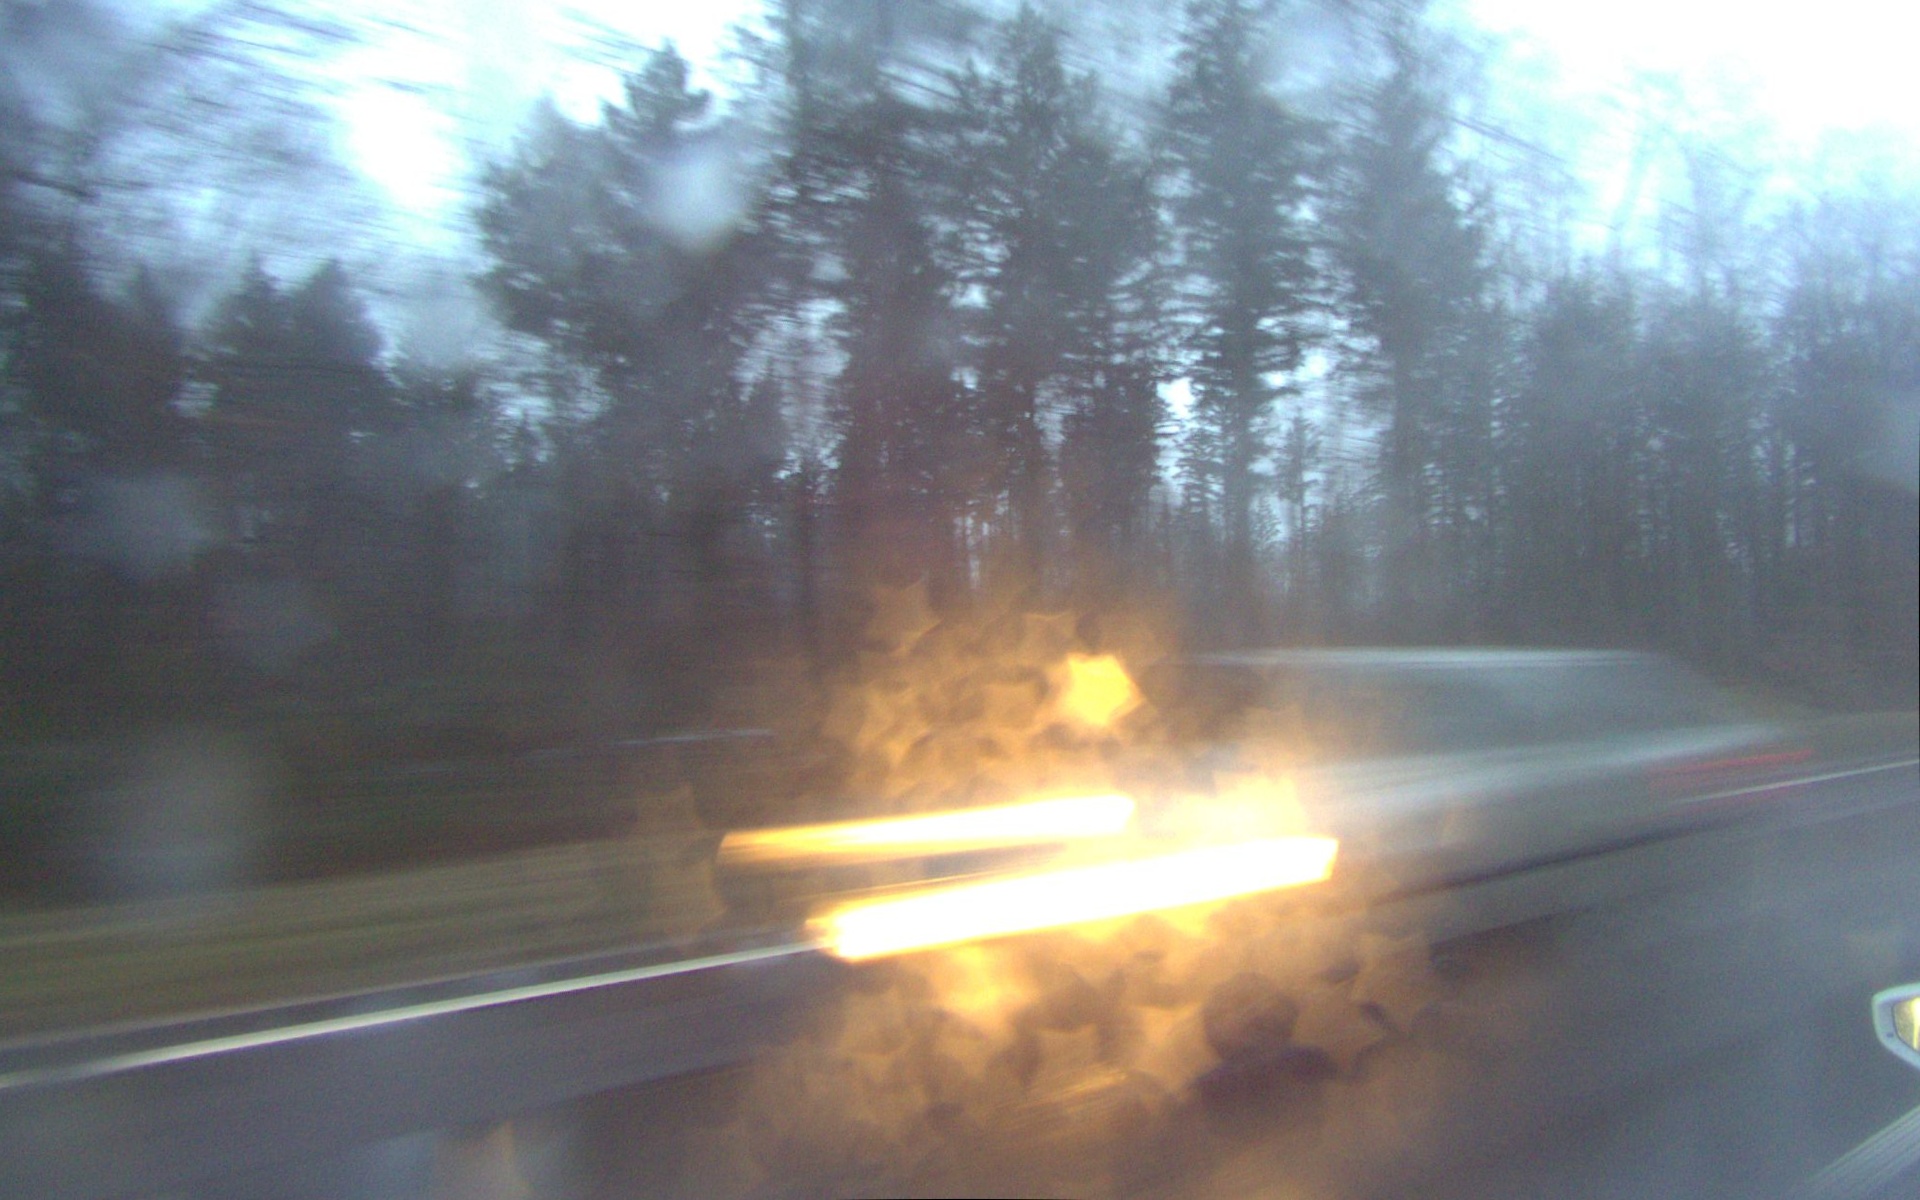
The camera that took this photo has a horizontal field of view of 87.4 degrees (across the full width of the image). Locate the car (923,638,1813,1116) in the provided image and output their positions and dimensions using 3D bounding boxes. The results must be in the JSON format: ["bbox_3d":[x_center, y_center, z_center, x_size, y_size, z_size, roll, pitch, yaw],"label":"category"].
[{"bbox_3d":[2.119,0.897,4.843,4.324,1.381,1.696,1,-2,-30],"label":"car"}]
